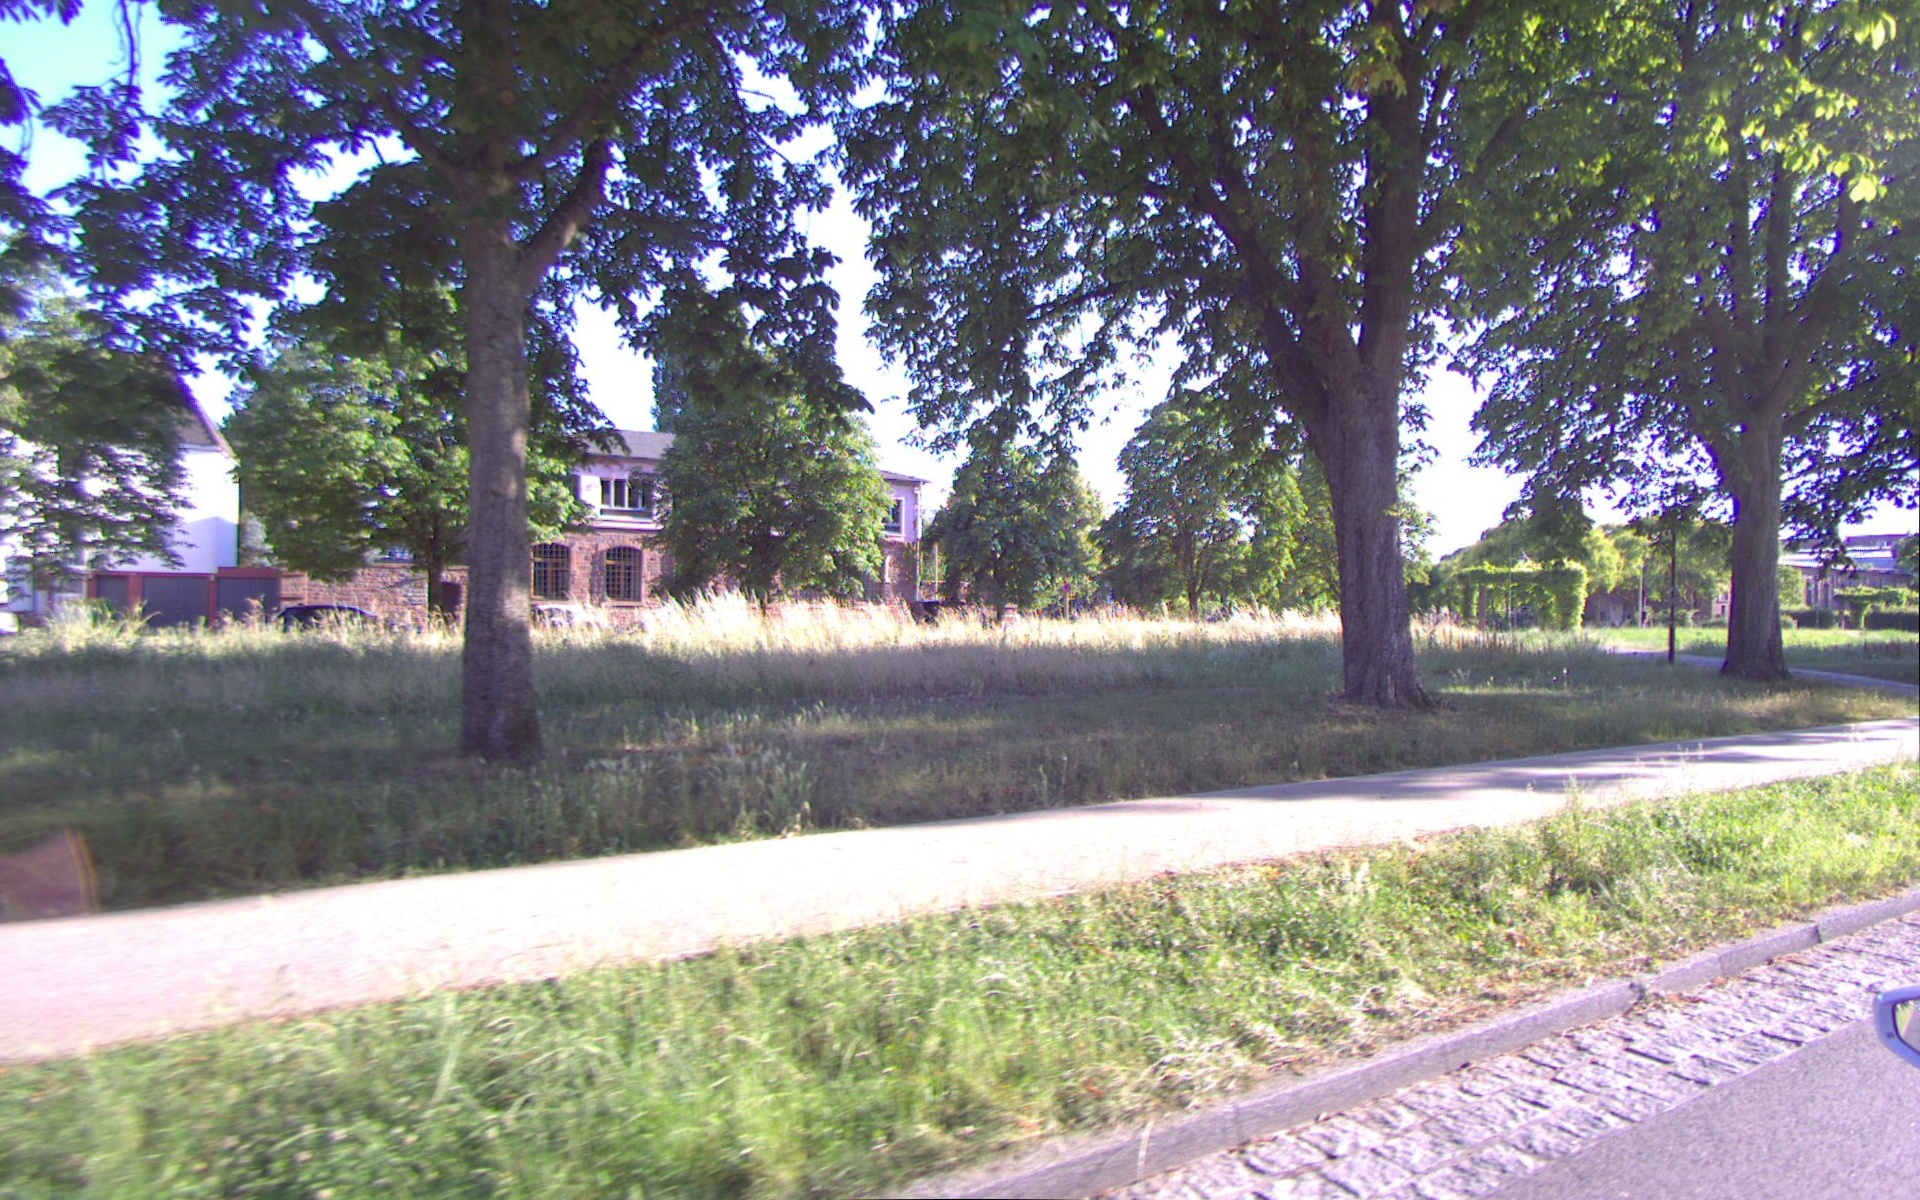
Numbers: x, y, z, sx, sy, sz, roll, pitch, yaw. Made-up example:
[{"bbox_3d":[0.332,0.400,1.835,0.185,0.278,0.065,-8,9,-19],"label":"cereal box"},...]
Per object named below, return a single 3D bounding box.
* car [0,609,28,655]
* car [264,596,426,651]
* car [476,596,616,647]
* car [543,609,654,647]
[{"bbox_3d":[-30.724,0.954,30.103,3.805,1.350,1.563,1,0,-29],"label":"car"},{"bbox_3d":[-18.979,0.718,31.163,4.172,1.619,1.684,1,0,-31],"label":"car"},{"bbox_3d":[-13.891,0.715,33.749,4.172,1.619,1.684,1,0,-31],"label":"car"},{"bbox_3d":[-14.347,1.099,39.882,3.953,1.424,1.621,1,0,-30],"label":"car"}]
